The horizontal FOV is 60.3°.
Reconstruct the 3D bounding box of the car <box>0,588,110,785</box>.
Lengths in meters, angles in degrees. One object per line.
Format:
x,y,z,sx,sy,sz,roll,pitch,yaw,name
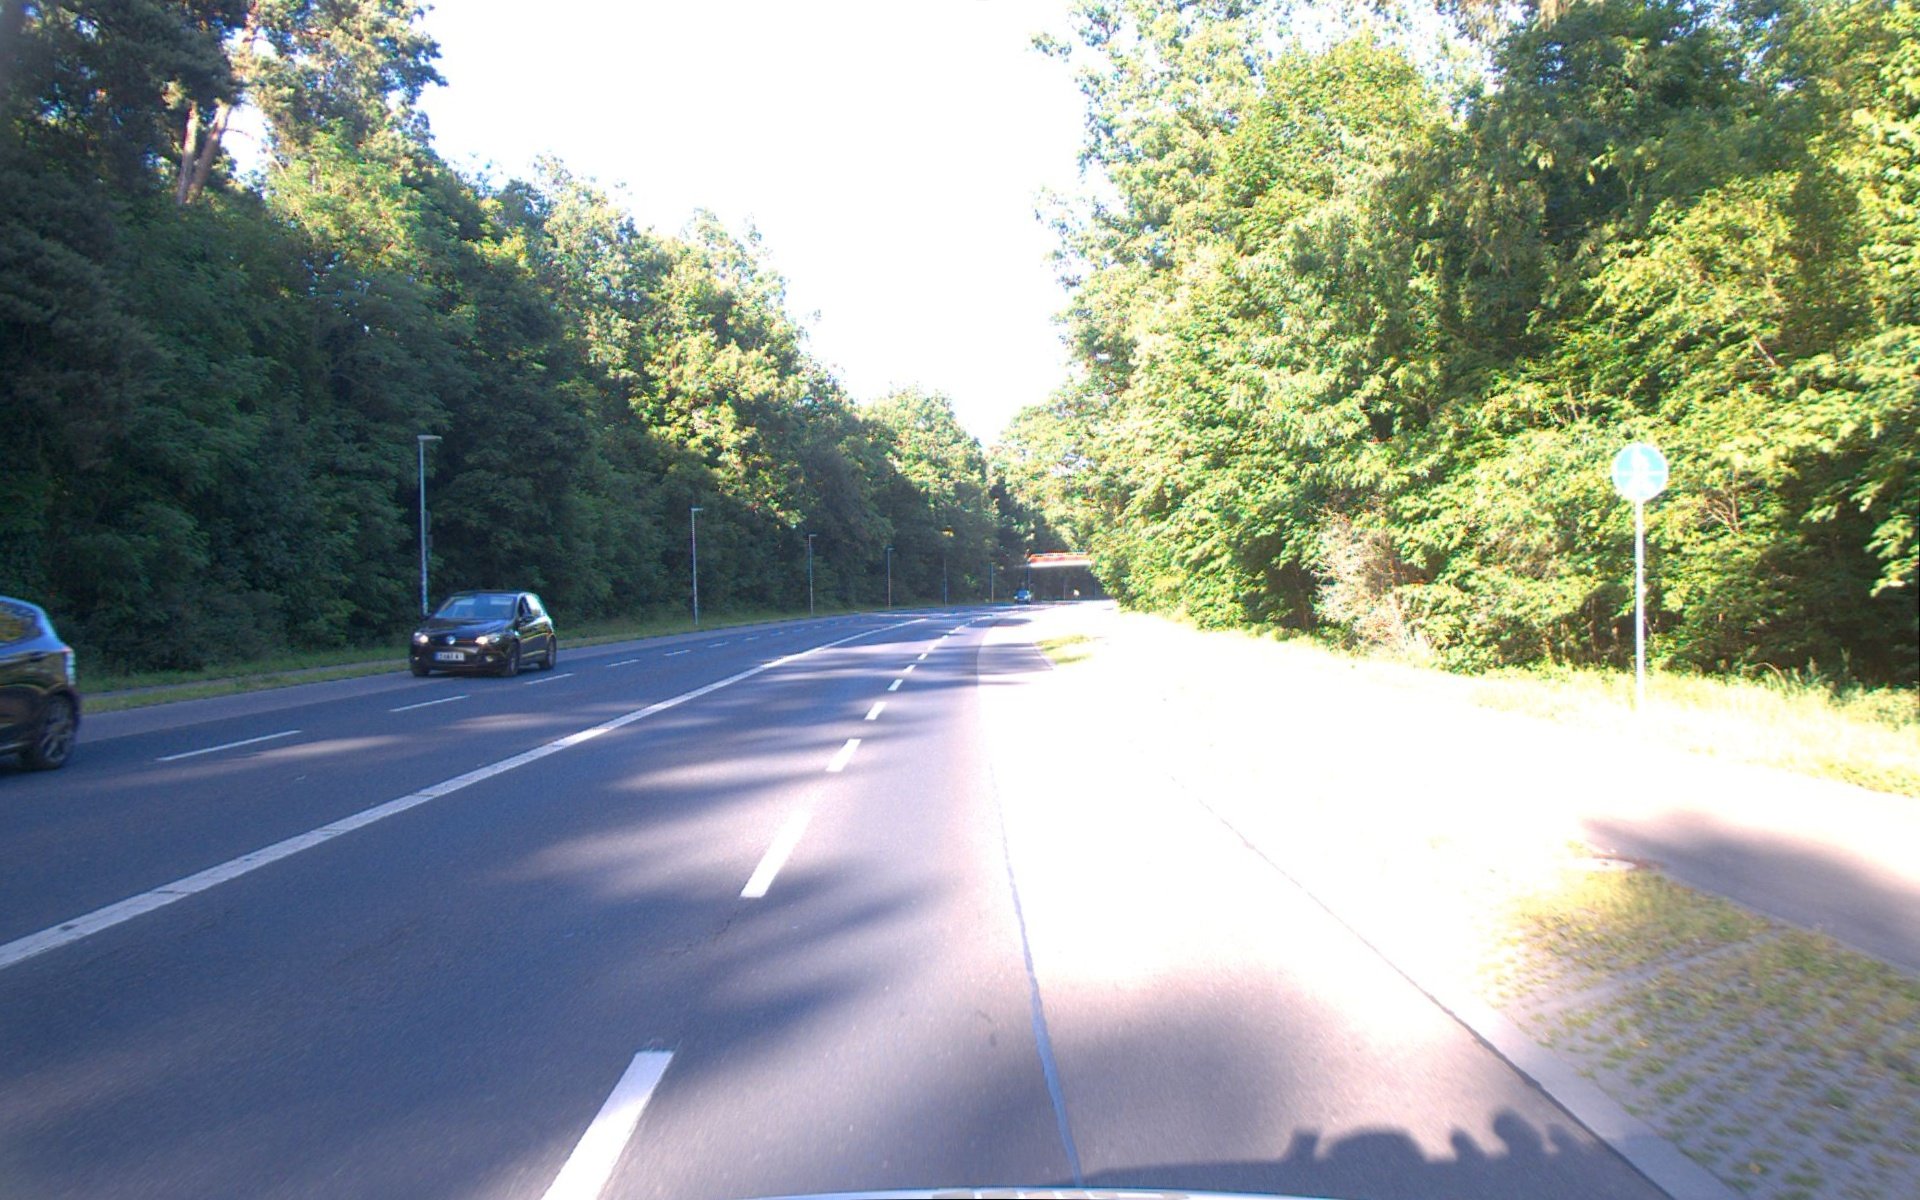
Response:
-8.136,0.650,12.226,1.703,1.483,3.998,2,0,-2,car

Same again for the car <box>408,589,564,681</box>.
-8.346,0.574,29.472,1.623,1.506,4.171,-1,0,-1,car

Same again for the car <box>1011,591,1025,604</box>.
7.509,-0.350,213.598,1.769,1.692,4.524,0,0,3,car
